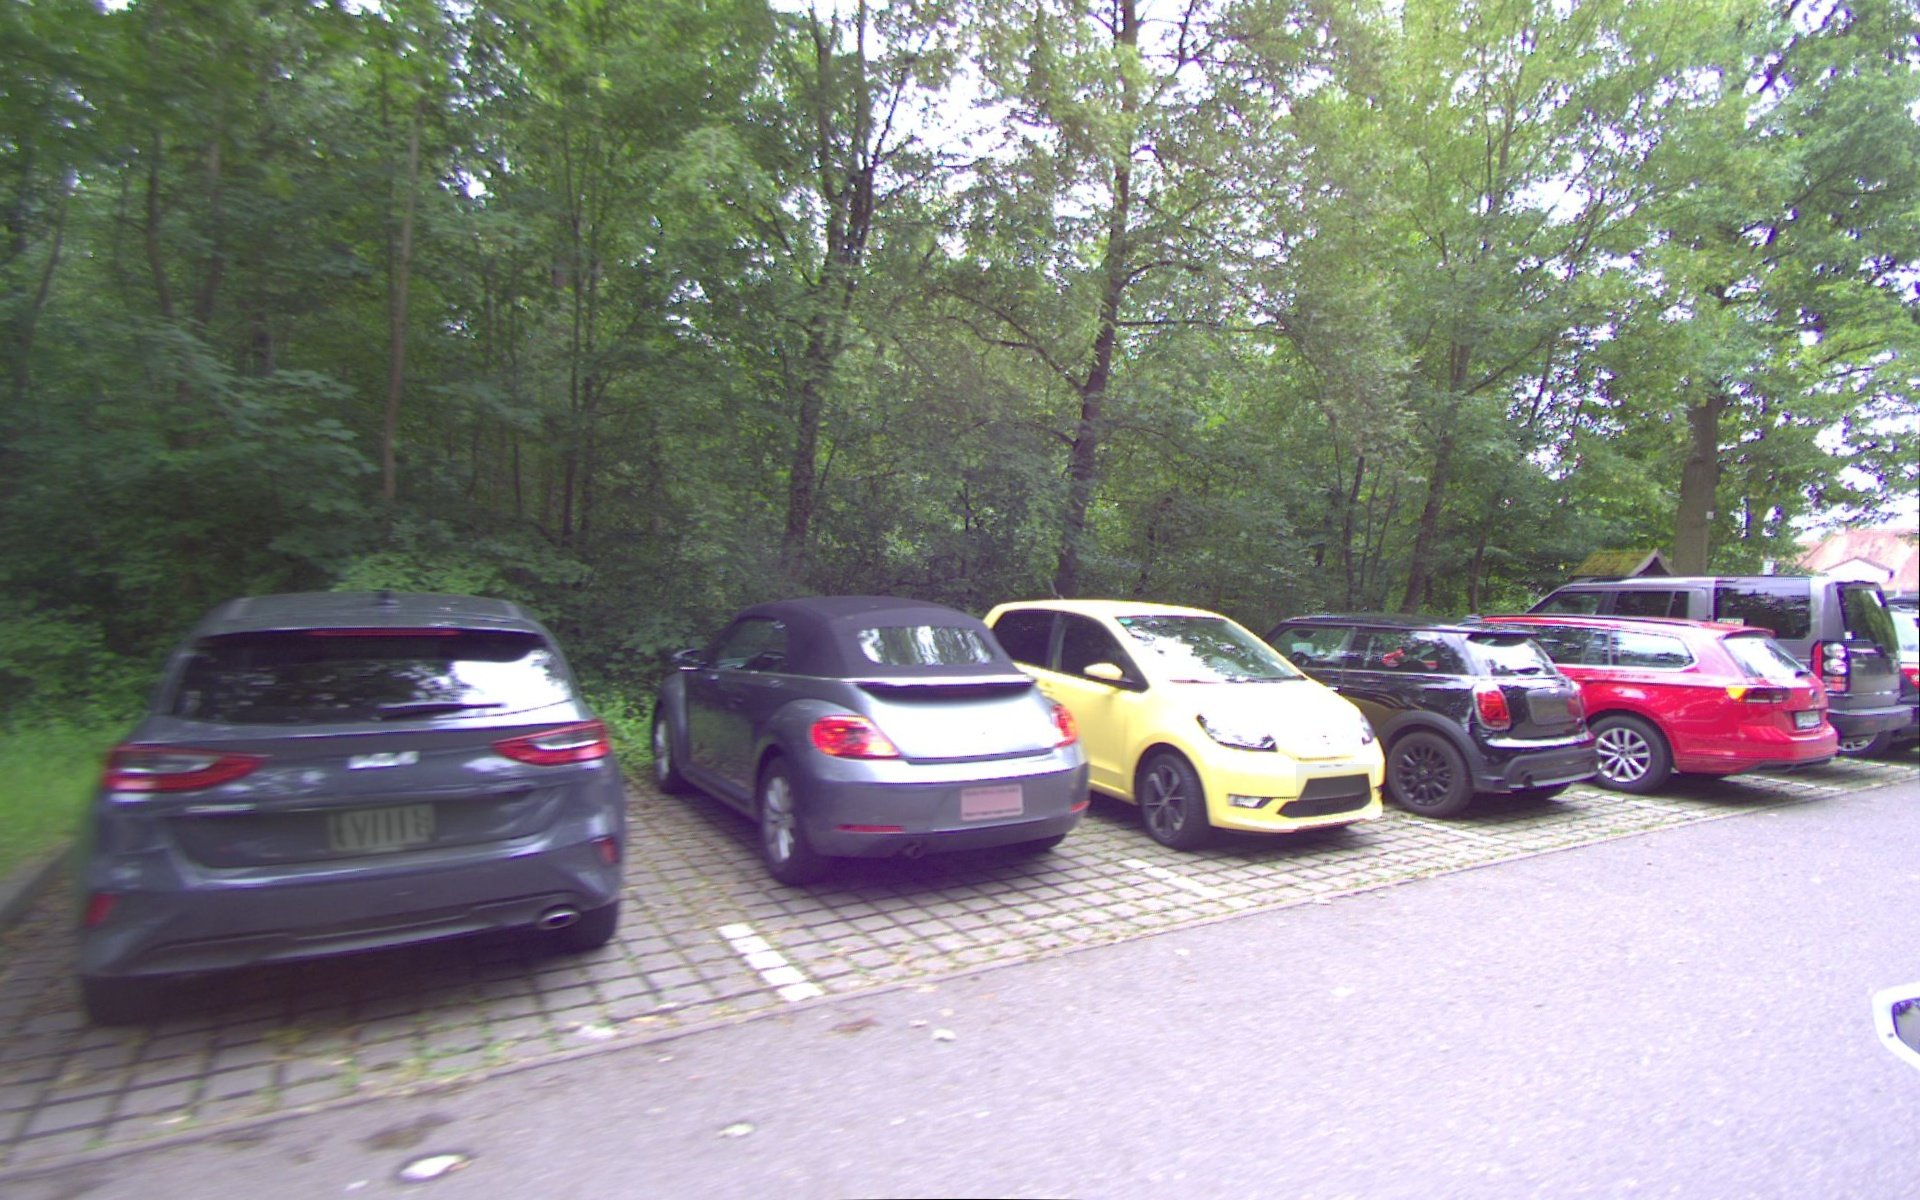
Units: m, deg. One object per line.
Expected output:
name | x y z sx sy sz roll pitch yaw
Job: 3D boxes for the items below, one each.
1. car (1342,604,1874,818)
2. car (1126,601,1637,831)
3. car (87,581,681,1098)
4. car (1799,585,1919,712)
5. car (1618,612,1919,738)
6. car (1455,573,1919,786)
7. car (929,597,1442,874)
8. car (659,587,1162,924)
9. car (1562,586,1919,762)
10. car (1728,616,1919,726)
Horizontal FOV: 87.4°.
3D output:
car | 5.989 0.863 9.781 1.760 1.496 3.964 1 1 -32
car | 3.451 0.806 8.975 1.653 1.457 3.964 1 1 -32
car | -2.778 0.680 5.065 1.695 1.457 3.967 1 1 -30
car | 16.448 0.823 15.904 1.870 2.004 4.478 2 0 -31
car | 12.013 0.978 14.385 1.700 1.449 3.968 1 1 -29
car | 7.922 0.685 11.187 1.792 1.887 3.967 1 1 -30
car | 1.411 0.776 7.790 1.599 1.457 3.967 1 1 -30
car | -0.656 0.698 6.692 1.713 1.457 3.967 1 1 -30
car | 9.994 0.775 12.413 1.804 1.789 3.965 1 1 -32
car | 14.323 1.053 15.278 1.786 1.533 3.799 1 0 -28
